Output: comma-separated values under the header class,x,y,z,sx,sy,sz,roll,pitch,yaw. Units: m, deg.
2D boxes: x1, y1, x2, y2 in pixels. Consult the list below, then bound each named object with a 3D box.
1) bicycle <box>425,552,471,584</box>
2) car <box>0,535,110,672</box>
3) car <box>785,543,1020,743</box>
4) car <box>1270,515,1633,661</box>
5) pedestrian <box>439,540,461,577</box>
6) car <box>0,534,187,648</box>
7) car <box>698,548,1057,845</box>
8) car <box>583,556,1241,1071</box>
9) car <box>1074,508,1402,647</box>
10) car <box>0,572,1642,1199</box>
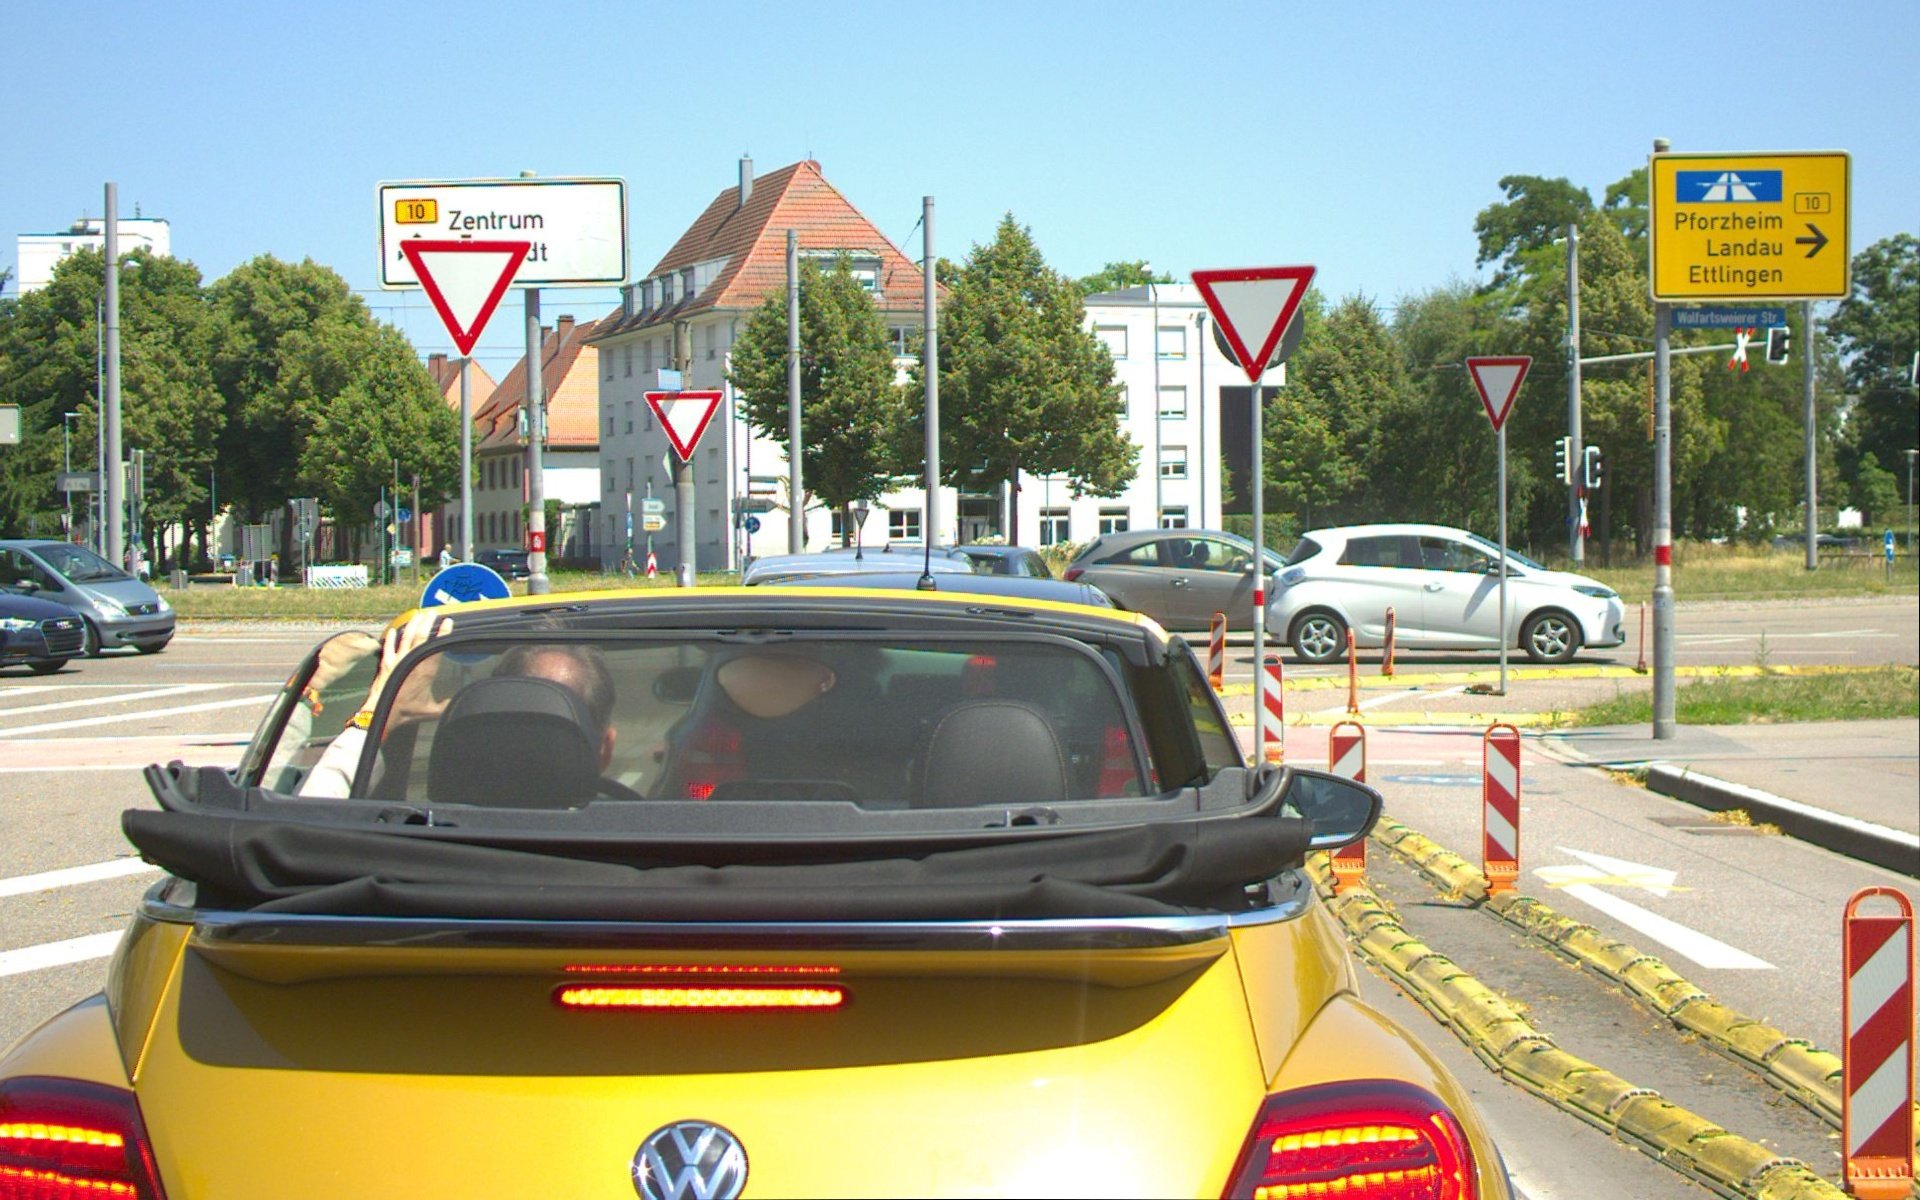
class,x,y,z,sx,sy,sz,roll,pitch,yaw
bicycle,-17.097,-1.070,114.800,1.465,1.067,0.499,0,1,-19
car,-12.585,0.011,41.926,4.002,1.614,1.735,0,1,18
car,-0.448,0.289,27.490,1.736,1.472,4.000,0,1,-1
car,5.602,-0.153,39.154,4.001,1.614,1.680,0,1,10
pedestrian,-17.032,-1.397,114.821,0.675,1.226,0.499,0,1,-19
car,-12.625,-0.145,46.445,3.992,1.491,1.798,1,1,25
car,-0.420,0.439,18.689,1.736,1.437,4.000,0,1,-1
car,-0.153,0.578,11.677,1.848,1.437,4.000,0,1,-1
car,3.536,-0.285,43.527,3.988,1.491,1.647,-3,0,7
car,-0.316,0.685,4.861,1.752,1.417,3.778,0,1,-1
